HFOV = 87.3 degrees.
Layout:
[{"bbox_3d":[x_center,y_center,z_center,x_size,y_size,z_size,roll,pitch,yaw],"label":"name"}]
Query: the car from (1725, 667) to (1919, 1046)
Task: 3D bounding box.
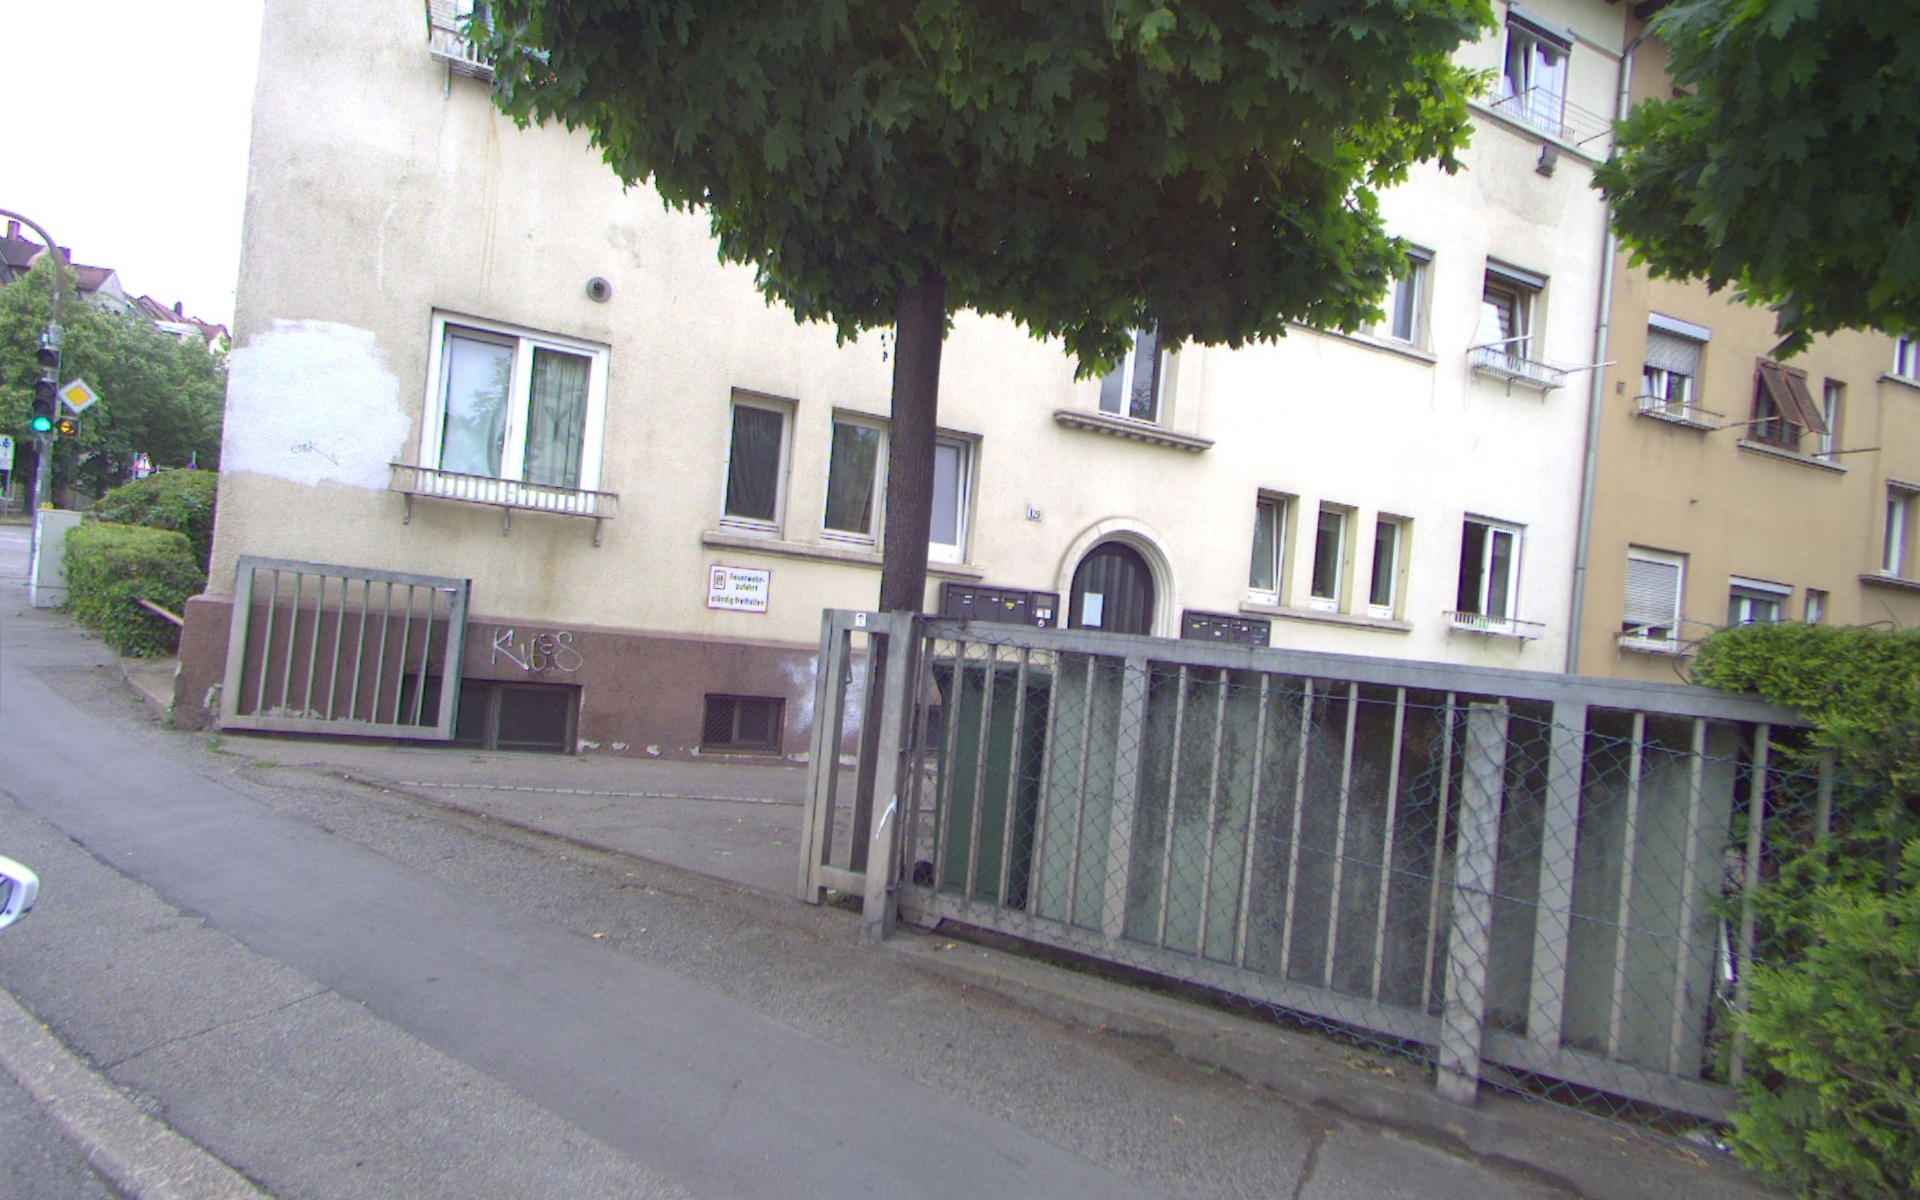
[{"bbox_3d":[5.253,1.226,3.757,1.688,1.477,3.405,9,-2,-37],"label":"car"}]
